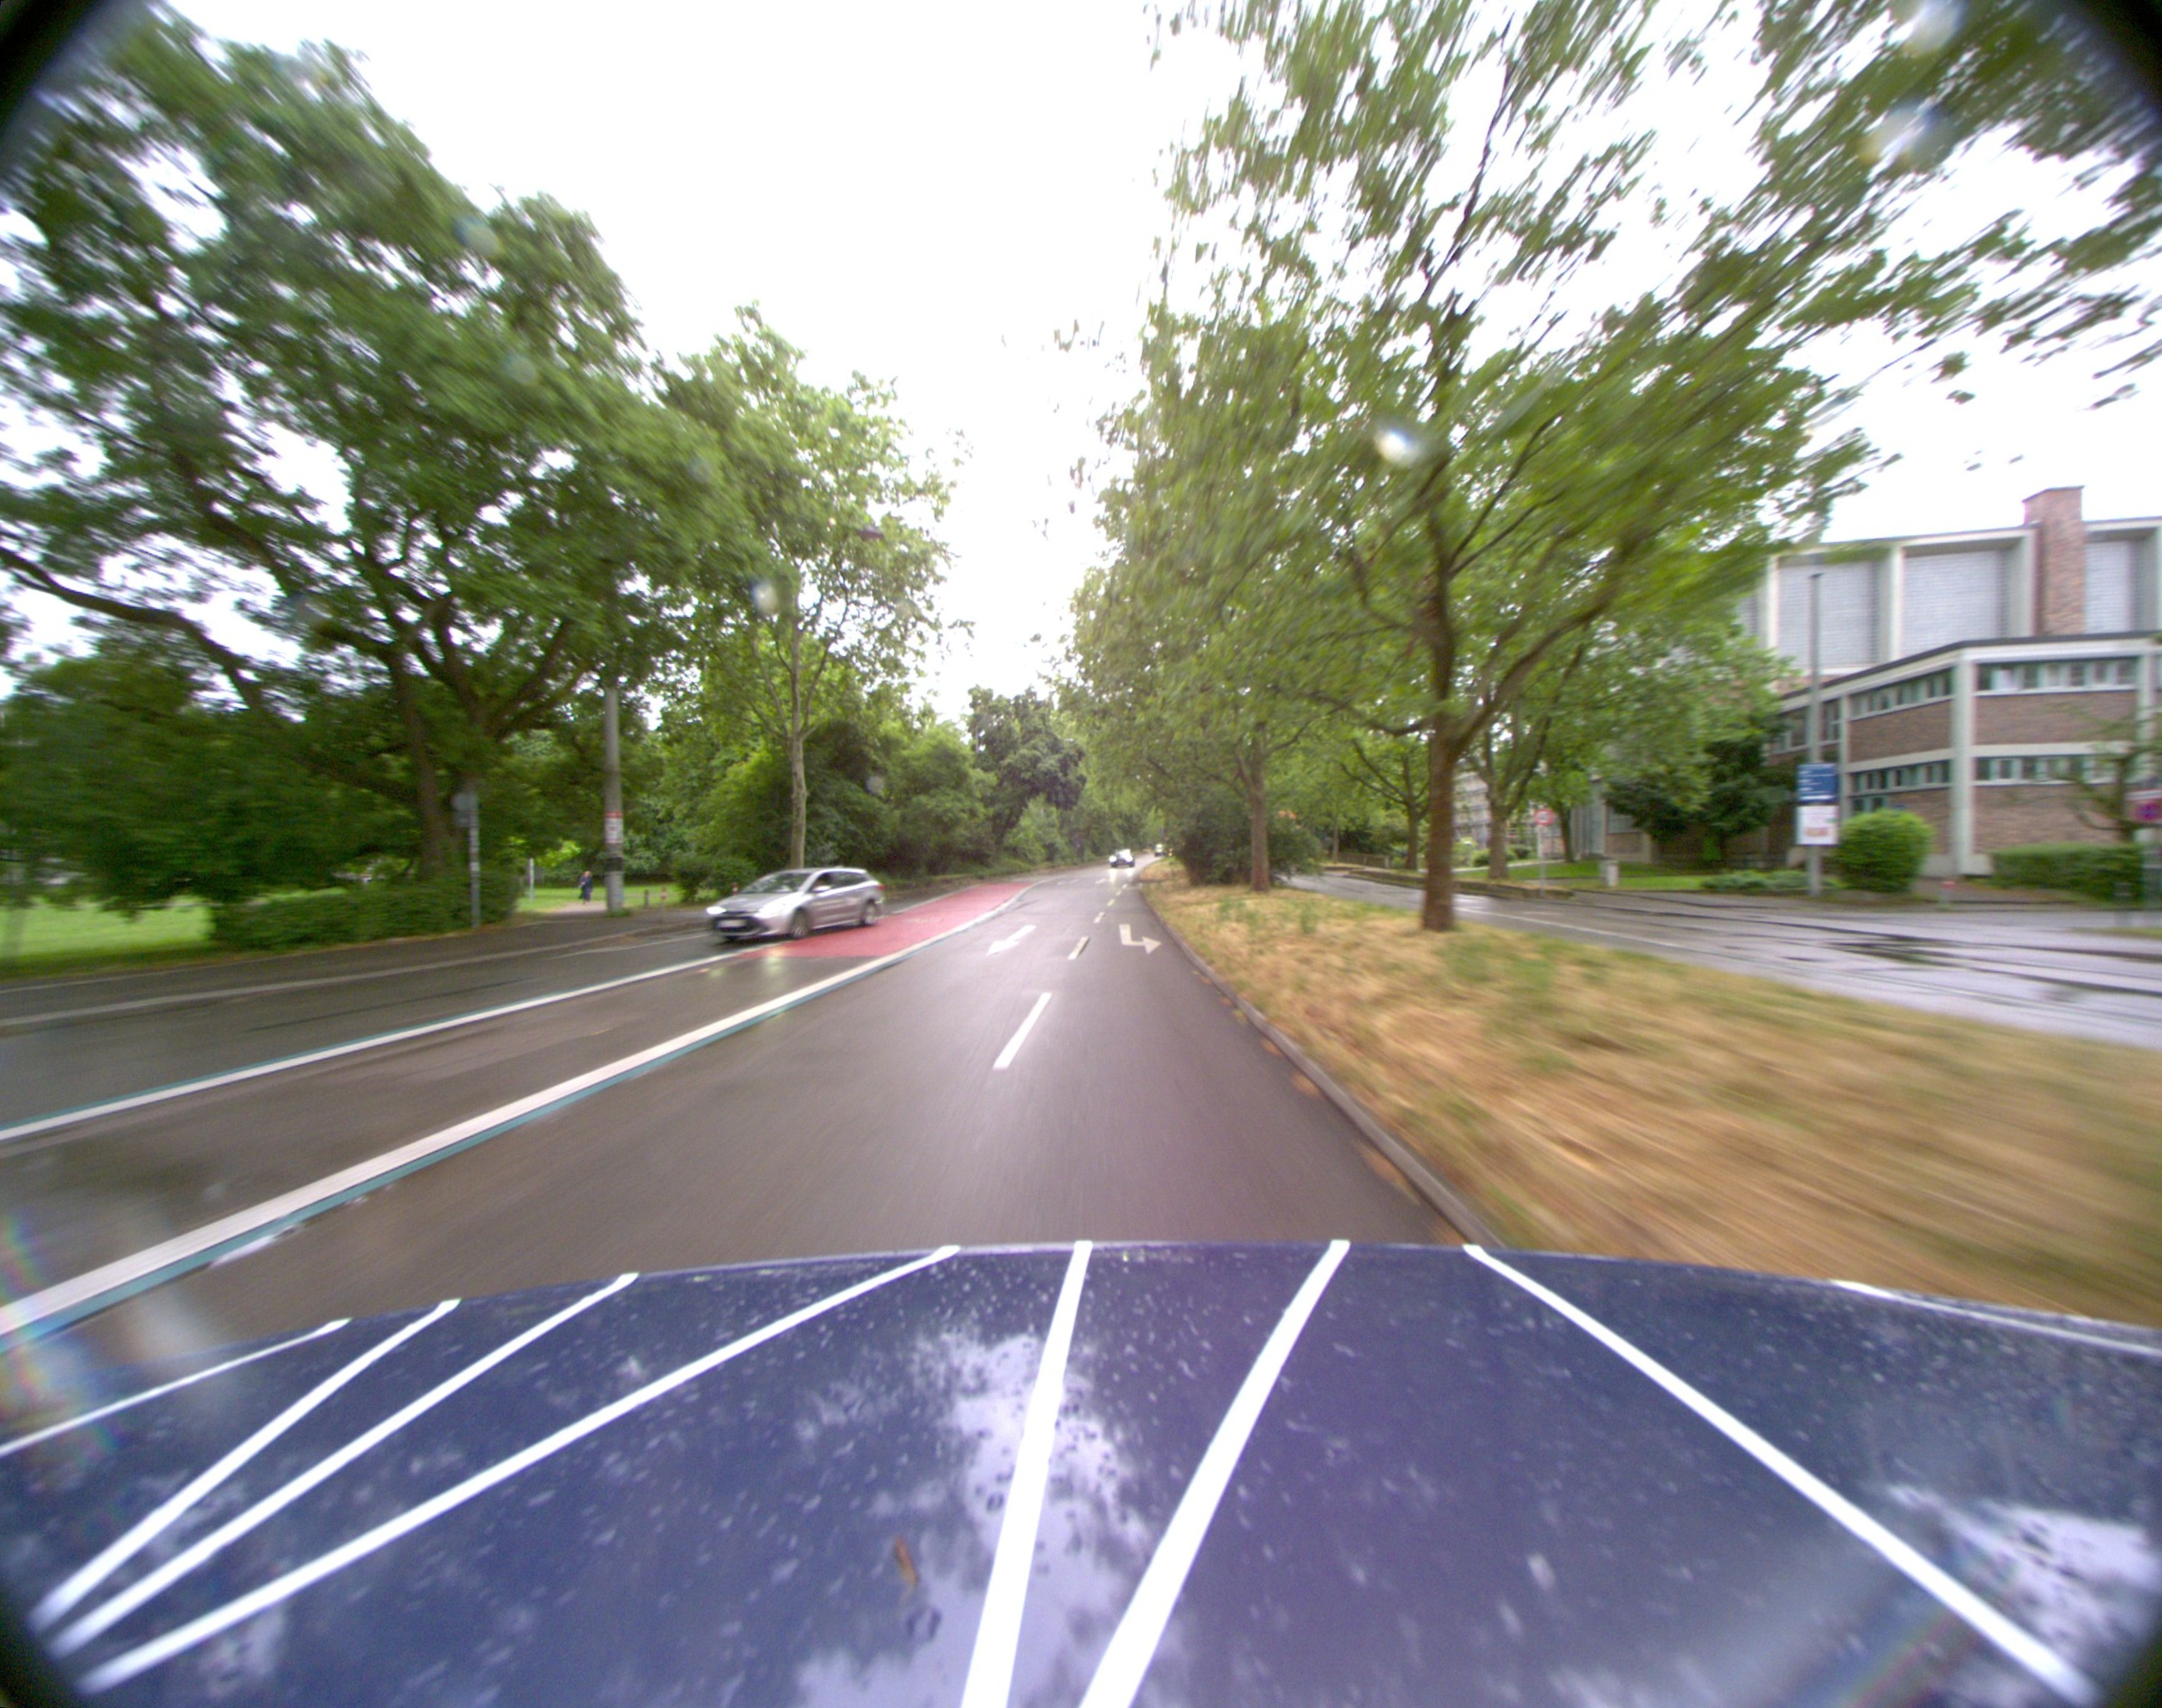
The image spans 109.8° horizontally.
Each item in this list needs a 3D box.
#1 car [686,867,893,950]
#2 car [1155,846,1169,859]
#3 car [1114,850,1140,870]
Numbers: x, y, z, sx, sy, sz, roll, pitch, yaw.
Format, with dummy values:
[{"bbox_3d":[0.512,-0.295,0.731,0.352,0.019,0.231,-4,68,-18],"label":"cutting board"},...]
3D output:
[{"bbox_3d":[-6.109,1.078,16.570,1.864,1.441,4.409,-1,0,17],"label":"car"},{"bbox_3d":[12.552,-0.217,118.220,1.883,1.865,4.744,-3,0,8],"label":"car"},{"bbox_3d":[4.256,0.564,69.826,1.832,1.599,4.579,-2,2,11],"label":"car"}]
